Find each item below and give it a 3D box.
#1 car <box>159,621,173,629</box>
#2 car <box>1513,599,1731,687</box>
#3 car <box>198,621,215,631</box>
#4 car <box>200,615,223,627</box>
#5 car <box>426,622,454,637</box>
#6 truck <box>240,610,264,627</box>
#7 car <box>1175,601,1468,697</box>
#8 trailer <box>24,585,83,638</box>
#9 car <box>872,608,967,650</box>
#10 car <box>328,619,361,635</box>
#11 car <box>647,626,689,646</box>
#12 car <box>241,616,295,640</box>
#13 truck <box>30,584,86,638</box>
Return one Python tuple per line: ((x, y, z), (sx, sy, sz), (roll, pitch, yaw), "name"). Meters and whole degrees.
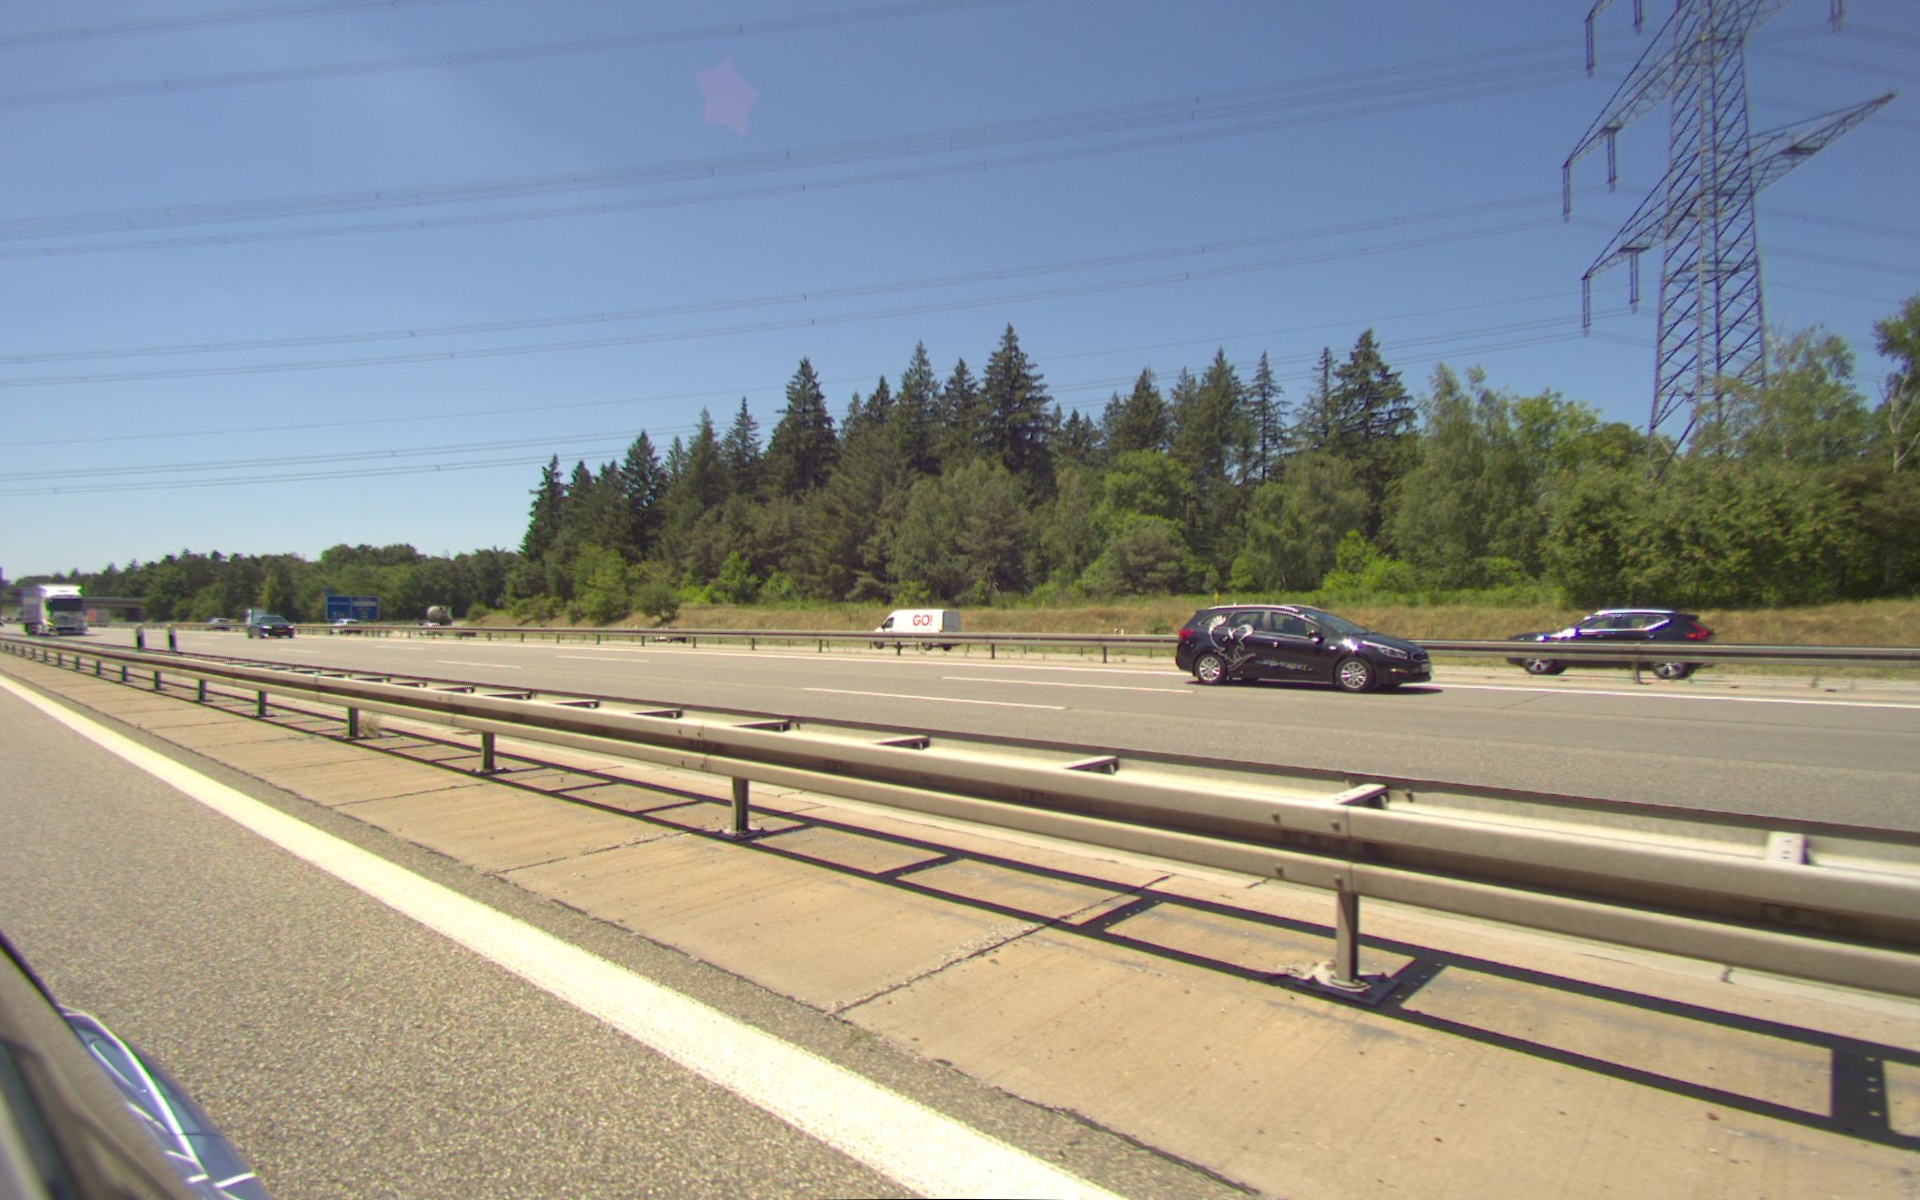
((-162.021, 5.052, 206.568), (4.060, 1.618, 1.685), (-1, -2, 43), "car")
((15.444, 0.960, 23.749), (1.718, 1.884, 4.003), (0, -1, -44), "car")
((-133.063, 4.576, 178.671), (4.060, 1.618, 1.685), (-1, -2, 43), "car")
((-98.308, 2.752, 132.869), (4.060, 1.486, 1.685), (-1, -2, 43), "car")
((-60.547, 3.422, 117.801), (4.060, 1.618, 1.685), (-1, -2, 43), "car")
((-123.549, 3.213, 176.553), (5.080, 3.047, 2.498), (-1, -2, 43), "truck")
((6.256, 0.803, 17.887), (4.596, 1.486, 1.685), (-1, -2, 43), "car")
((-75.460, 0.992, 84.162), (11.701, 4.174, 2.941), (-1, -2, 45), "trailer")
((-2.665, 1.838, 65.114), (6.456, 2.534, 2.280), (-1, -2, 43), "car")
((-59.826, 2.630, 98.347), (4.060, 1.486, 1.685), (-1, -2, 43), "car")
((-25.168, 3.104, 87.216), (4.060, 1.618, 1.685), (-1, -2, 43), "car")
((-44.146, 1.787, 64.552), (4.999, 1.442, 1.812), (-1, -1, 43), "car")
((-71.602, 0.906, 80.292), (5.351, 4.174, 2.939), (-1, -2, 45), "truck")
